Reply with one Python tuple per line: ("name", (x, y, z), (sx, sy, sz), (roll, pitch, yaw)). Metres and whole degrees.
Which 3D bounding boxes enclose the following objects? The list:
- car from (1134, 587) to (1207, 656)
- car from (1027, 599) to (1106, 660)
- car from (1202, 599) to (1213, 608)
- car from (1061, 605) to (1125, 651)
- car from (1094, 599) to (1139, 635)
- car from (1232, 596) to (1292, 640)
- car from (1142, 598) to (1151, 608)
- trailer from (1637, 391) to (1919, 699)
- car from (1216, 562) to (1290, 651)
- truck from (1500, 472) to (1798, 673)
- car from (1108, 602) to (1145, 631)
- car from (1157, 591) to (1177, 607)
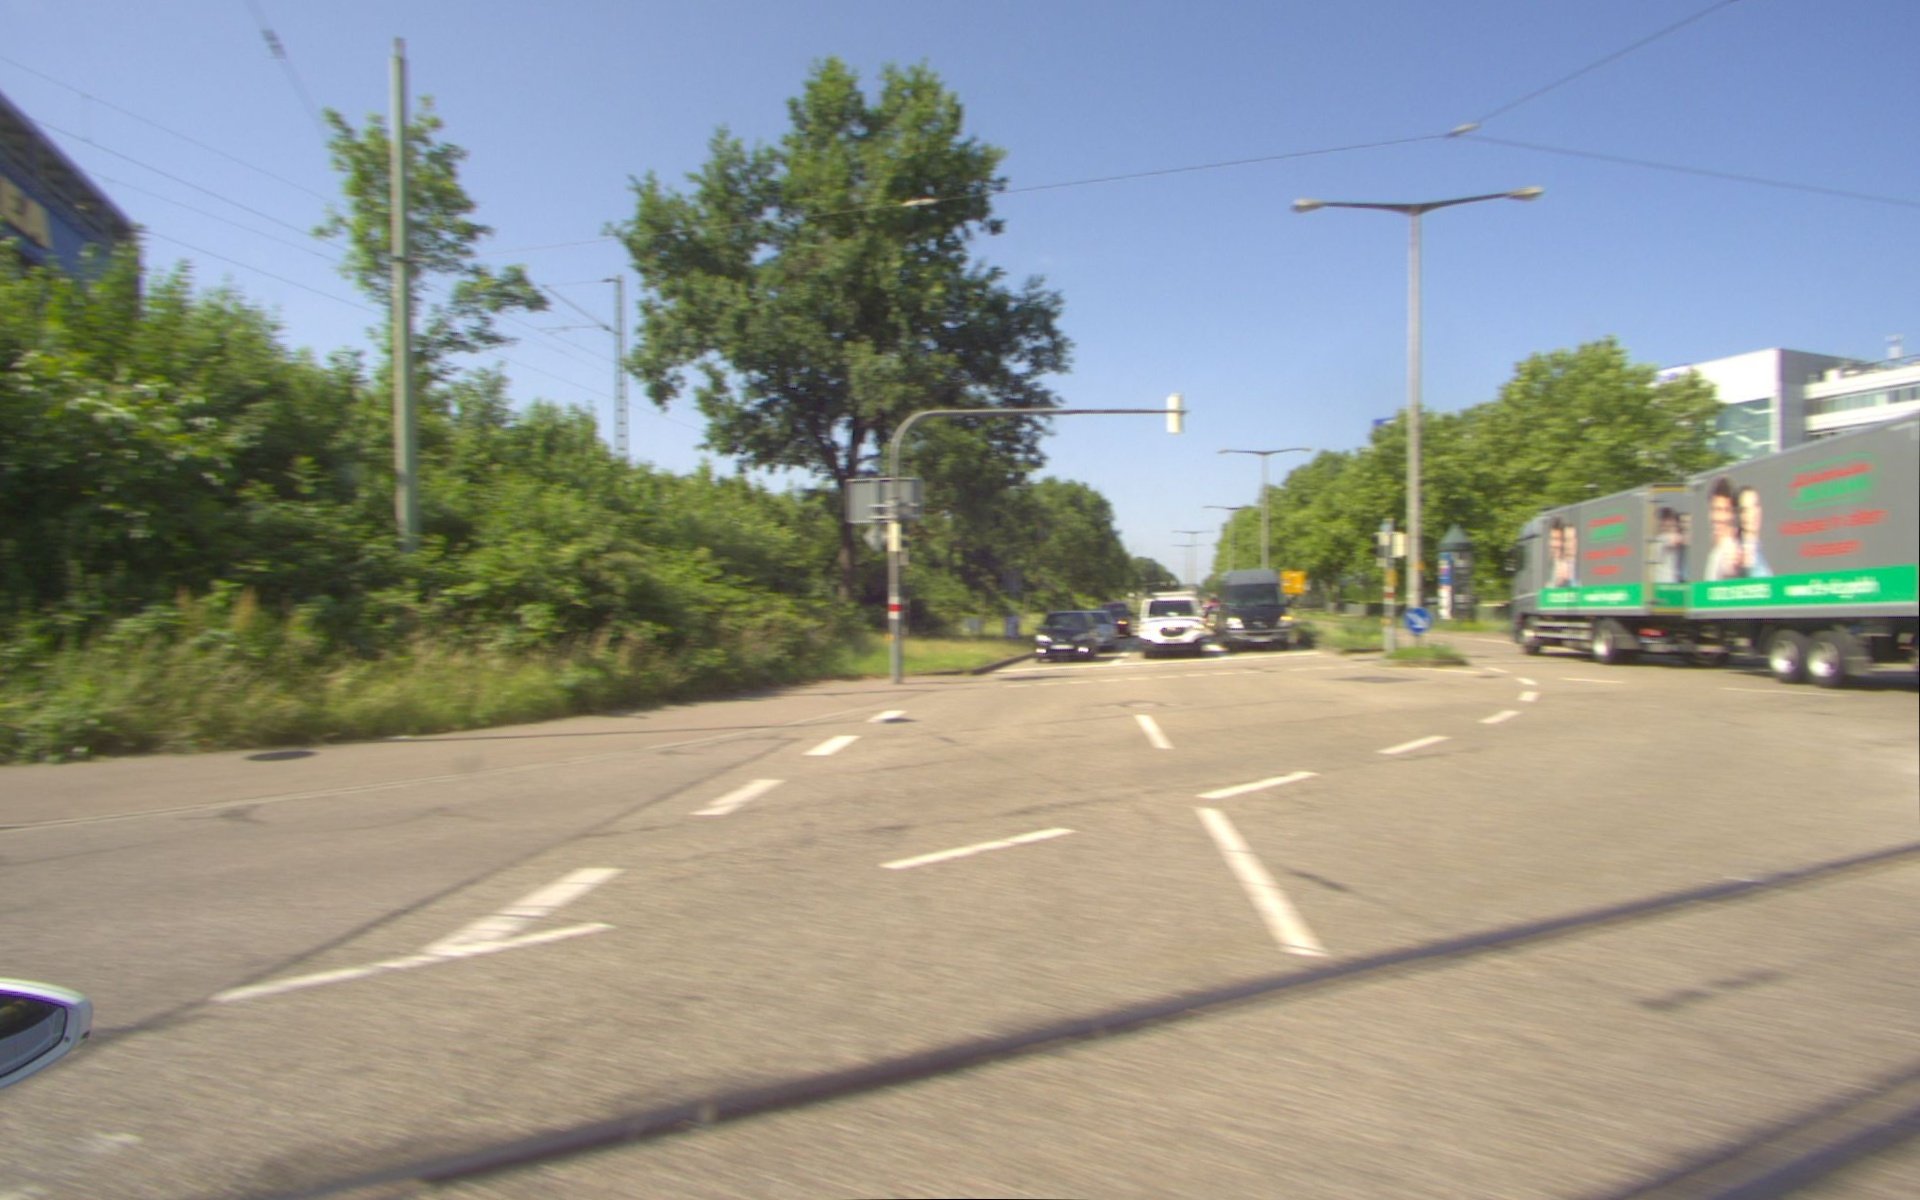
("car", (6.363, 0.621, 30.134), (1.963, 1.894, 4.770), (-1, -1, 13))
("car", (3.187, 0.841, 29.400), (1.882, 1.663, 3.734), (-1, -1, 13))
("car", (47.392, 0.688, 191.952), (1.962, 1.606, 4.452), (2, 0, 13))
("car", (4.881, 0.986, 36.290), (1.963, 1.560, 4.233), (-1, -1, 13))
("car", (7.994, 0.859, 50.918), (1.963, 1.701, 4.233), (-1, -1, 13))
("car", (11.724, 0.688, 39.056), (1.963, 1.605, 3.997), (-1, -1, 13))
("car", (39.998, 0.691, 214.860), (1.858, 2.040, 3.997), (2, 0, 12))
("trailer", (14.294, -0.635, 16.200), (2.693, 3.928, 7.730), (2, 0, 12))
("car", (9.415, 0.226, 32.494), (1.963, 2.641, 5.130), (-1, 0, 13))
("truck", (16.004, -0.531, 24.246), (2.687, 3.941, 8.716), (2, 0, 12))
("car", (10.170, 1.003, 60.908), (1.963, 1.701, 4.233), (-1, -1, 13))
("car", (22.512, -0.095, 108.785), (1.963, 1.701, 4.233), (-1, -1, 13))
